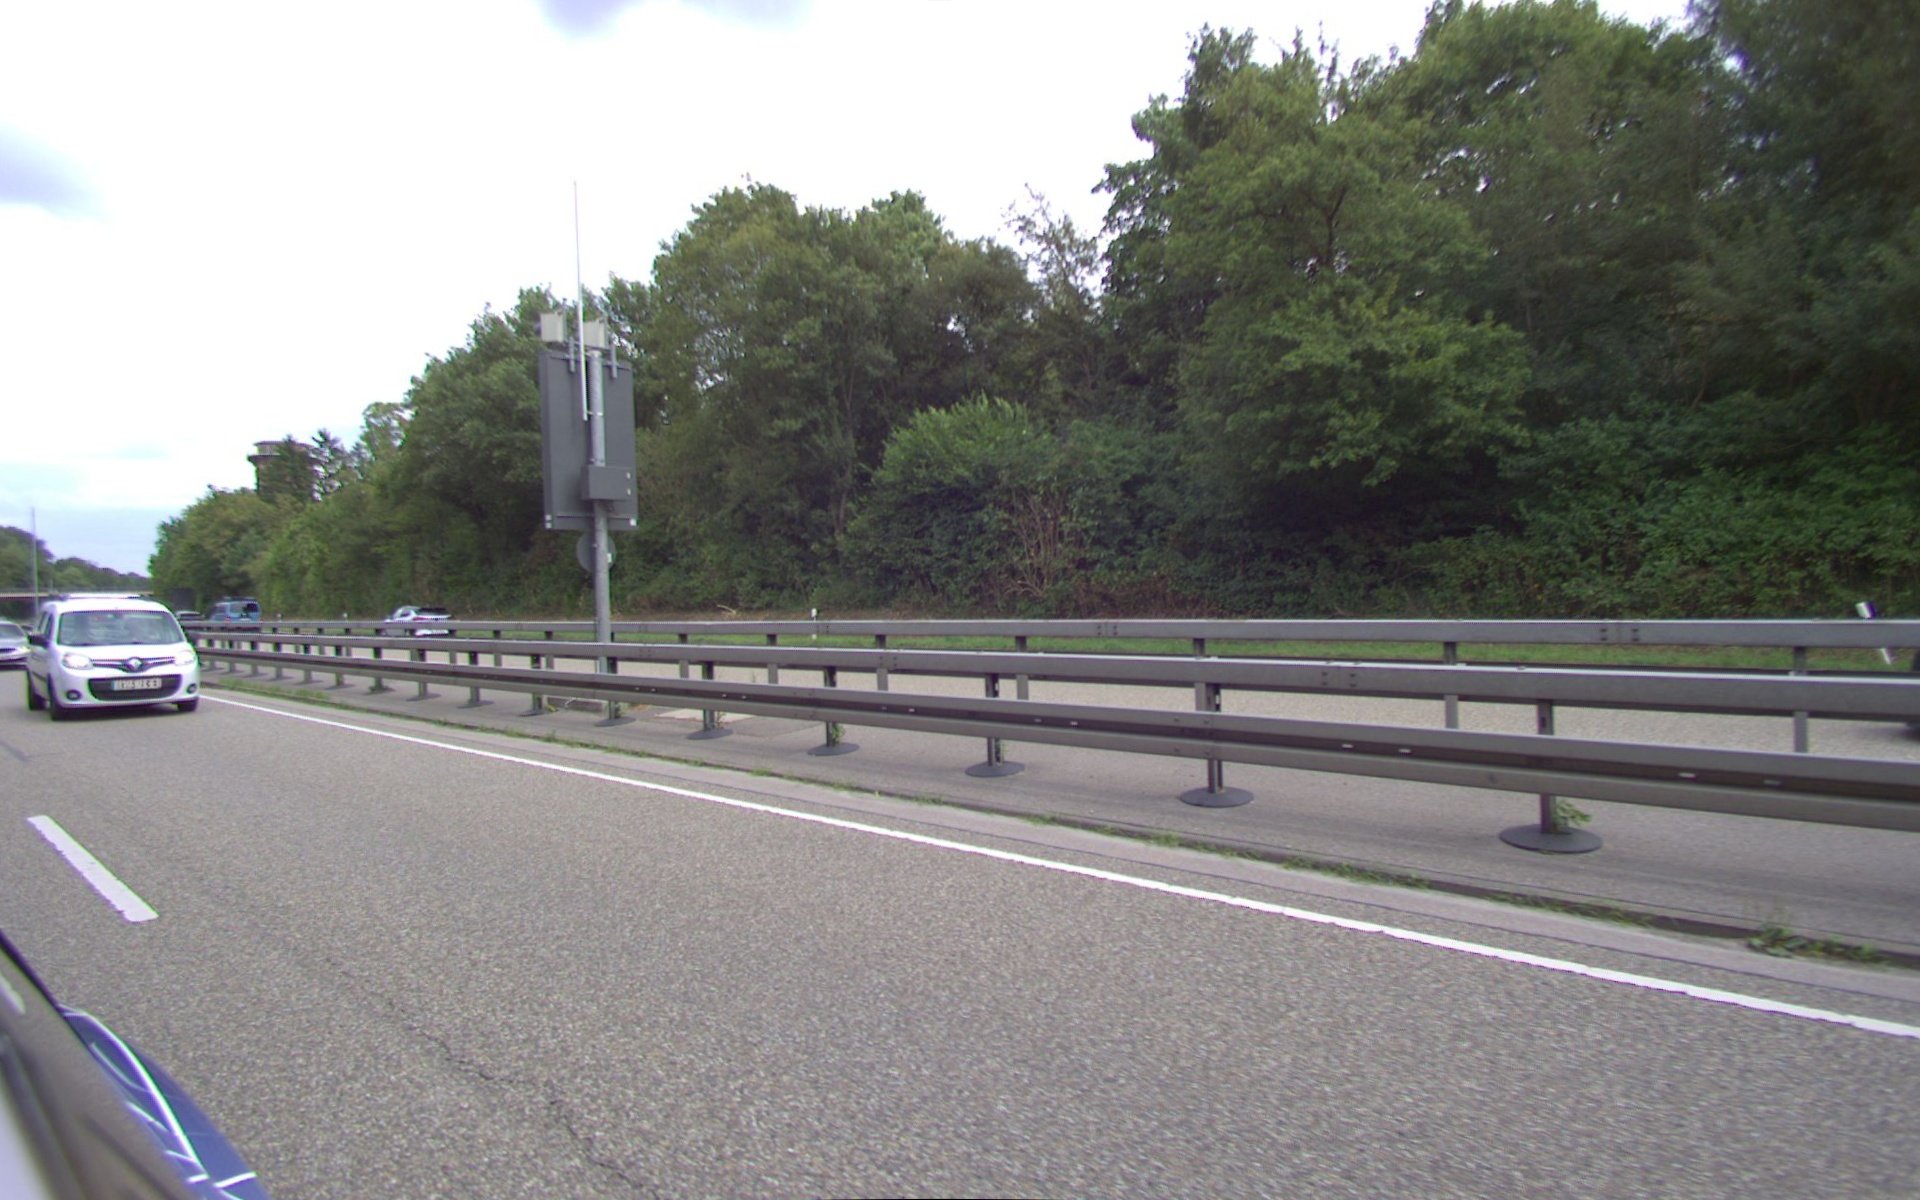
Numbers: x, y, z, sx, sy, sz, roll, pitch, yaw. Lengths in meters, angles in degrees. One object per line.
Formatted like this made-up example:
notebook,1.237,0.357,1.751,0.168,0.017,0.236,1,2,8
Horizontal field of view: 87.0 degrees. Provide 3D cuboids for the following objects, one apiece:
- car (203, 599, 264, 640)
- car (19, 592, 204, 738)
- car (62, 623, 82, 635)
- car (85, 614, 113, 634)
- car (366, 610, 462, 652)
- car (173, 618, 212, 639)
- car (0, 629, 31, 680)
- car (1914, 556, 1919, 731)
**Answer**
car,-43.055,1.169,59.923,5.305,2.339,1.914,-1,-1,43
car,-13.607,0.937,16.140,4.424,2.020,1.797,-1,-1,44
car,-118.793,3.907,135.359,4.016,1.575,1.762,-1,-1,44
car,-97.910,2.719,115.046,2.042,2.273,5.378,0,-1,-44
car,-21.072,1.173,38.998,4.130,1.492,1.972,-1,-1,42
car,-56.947,2.107,75.079,4.090,1.478,1.675,-1,-1,43
car,-29.012,1.611,30.211,1.748,1.435,4.201,0,-1,-45
car,9.039,0.342,6.756,3.774,1.457,1.691,-1,-1,41
